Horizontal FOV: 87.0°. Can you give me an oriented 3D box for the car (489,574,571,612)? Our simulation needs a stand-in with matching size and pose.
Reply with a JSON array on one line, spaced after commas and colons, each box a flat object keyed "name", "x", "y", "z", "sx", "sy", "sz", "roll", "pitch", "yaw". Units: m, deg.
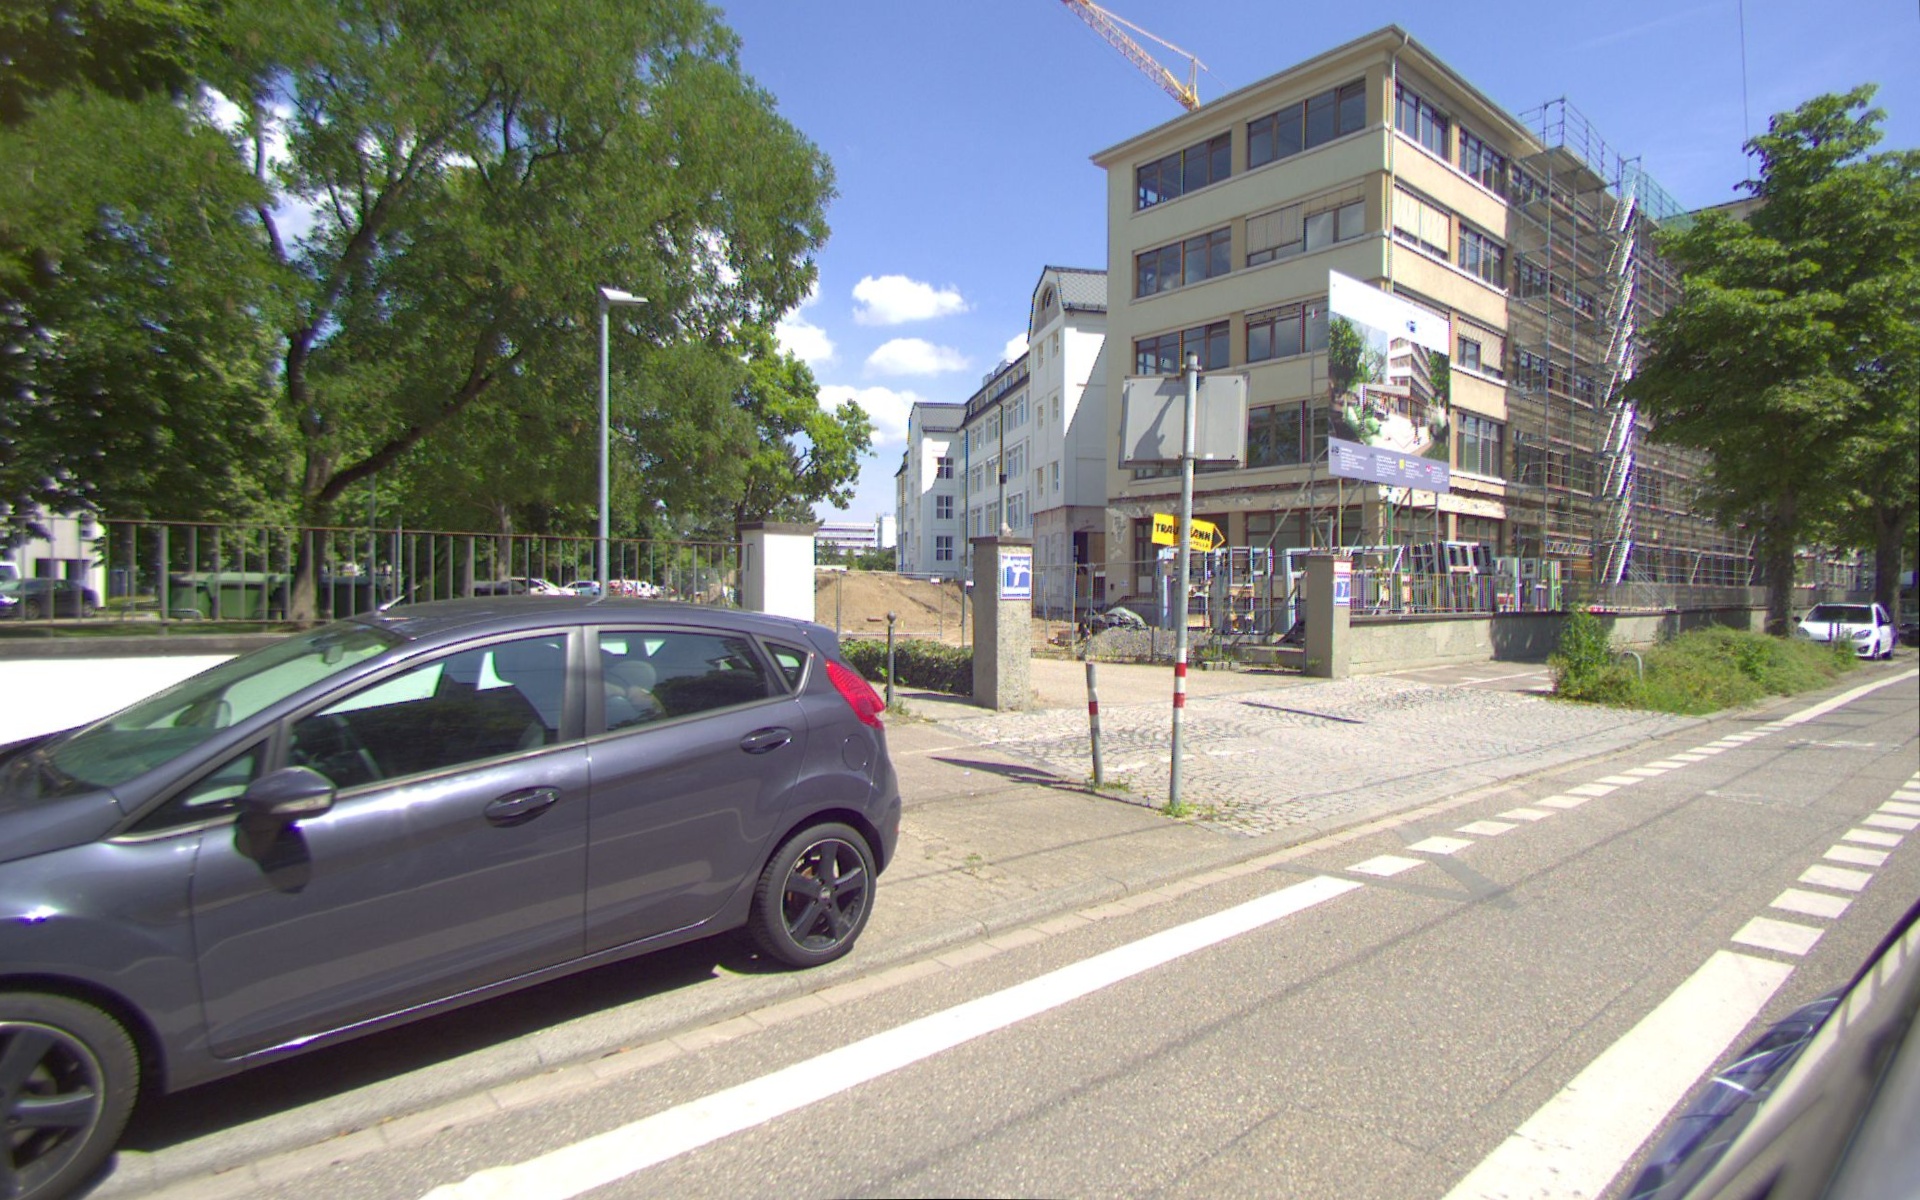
[{"name": "car", "x": -23.866, "y": -0.376, "z": 56.309, "sx": 3.916, "sy": 2.039, "sz": 2.004, "roll": 0, "pitch": -1, "yaw": -14}]

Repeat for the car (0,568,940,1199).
[{"name": "car", "x": -2.013, "y": 0.643, "z": 3.724, "sx": 3.809, "sy": 1.504, "sz": 1.640, "roll": -1, "pitch": 2, "yaw": -44}]

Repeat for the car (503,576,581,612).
[{"name": "car", "x": -24.155, "y": -0.331, "z": 58.641, "sx": 3.916, "sy": 2.039, "sz": 2.004, "roll": 0, "pitch": -1, "yaw": -14}]

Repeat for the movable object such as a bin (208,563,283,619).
[{"name": "movable object such as a bin", "x": -19.506, "y": -0.241, "z": 27.670, "sx": 1.360, "sy": 1.481, "sz": 1.411, "roll": 0, "pitch": 1, "yaw": -20}]

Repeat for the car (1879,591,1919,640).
[{"name": "car", "x": 31.756, "y": 0.496, "z": 33.457, "sx": 3.878, "sy": 1.554, "sz": 1.647, "roll": 0, "pitch": 0, "yaw": -41}]

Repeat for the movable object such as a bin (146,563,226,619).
[{"name": "movable object such as a bin", "x": -20.904, "y": -0.244, "z": 27.375, "sx": 1.360, "sy": 1.481, "sz": 1.411, "roll": 0, "pitch": 1, "yaw": -20}]

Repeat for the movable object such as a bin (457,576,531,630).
[{"name": "movable object such as a bin", "x": -13.128, "y": 0.062, "z": 28.582, "sx": 1.366, "sy": 1.481, "sz": 1.405, "roll": 1, "pitch": 1, "yaw": 8}]

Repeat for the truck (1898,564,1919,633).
[{"name": "truck", "x": 37.550, "y": -0.065, "z": 38.624, "sx": 5.853, "sy": 2.520, "sz": 2.017, "roll": 0, "pitch": 0, "yaw": -42}]

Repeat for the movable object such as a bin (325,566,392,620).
[{"name": "movable object such as a bin", "x": -16.764, "y": -0.202, "z": 28.248, "sx": 1.360, "sy": 1.481, "sz": 1.411, "roll": 0, "pitch": 1, "yaw": -20}]

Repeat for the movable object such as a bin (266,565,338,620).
[{"name": "movable object such as a bin", "x": -18.128, "y": -0.207, "z": 27.938, "sx": 1.360, "sy": 1.481, "sz": 1.412, "roll": 0, "pitch": 1, "yaw": -19}]

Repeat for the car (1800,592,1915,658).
[{"name": "car", "x": 22.894, "y": 0.595, "z": 25.781, "sx": 3.717, "sy": 1.554, "sz": 1.648, "roll": 0, "pitch": 0, "yaw": -40}]
